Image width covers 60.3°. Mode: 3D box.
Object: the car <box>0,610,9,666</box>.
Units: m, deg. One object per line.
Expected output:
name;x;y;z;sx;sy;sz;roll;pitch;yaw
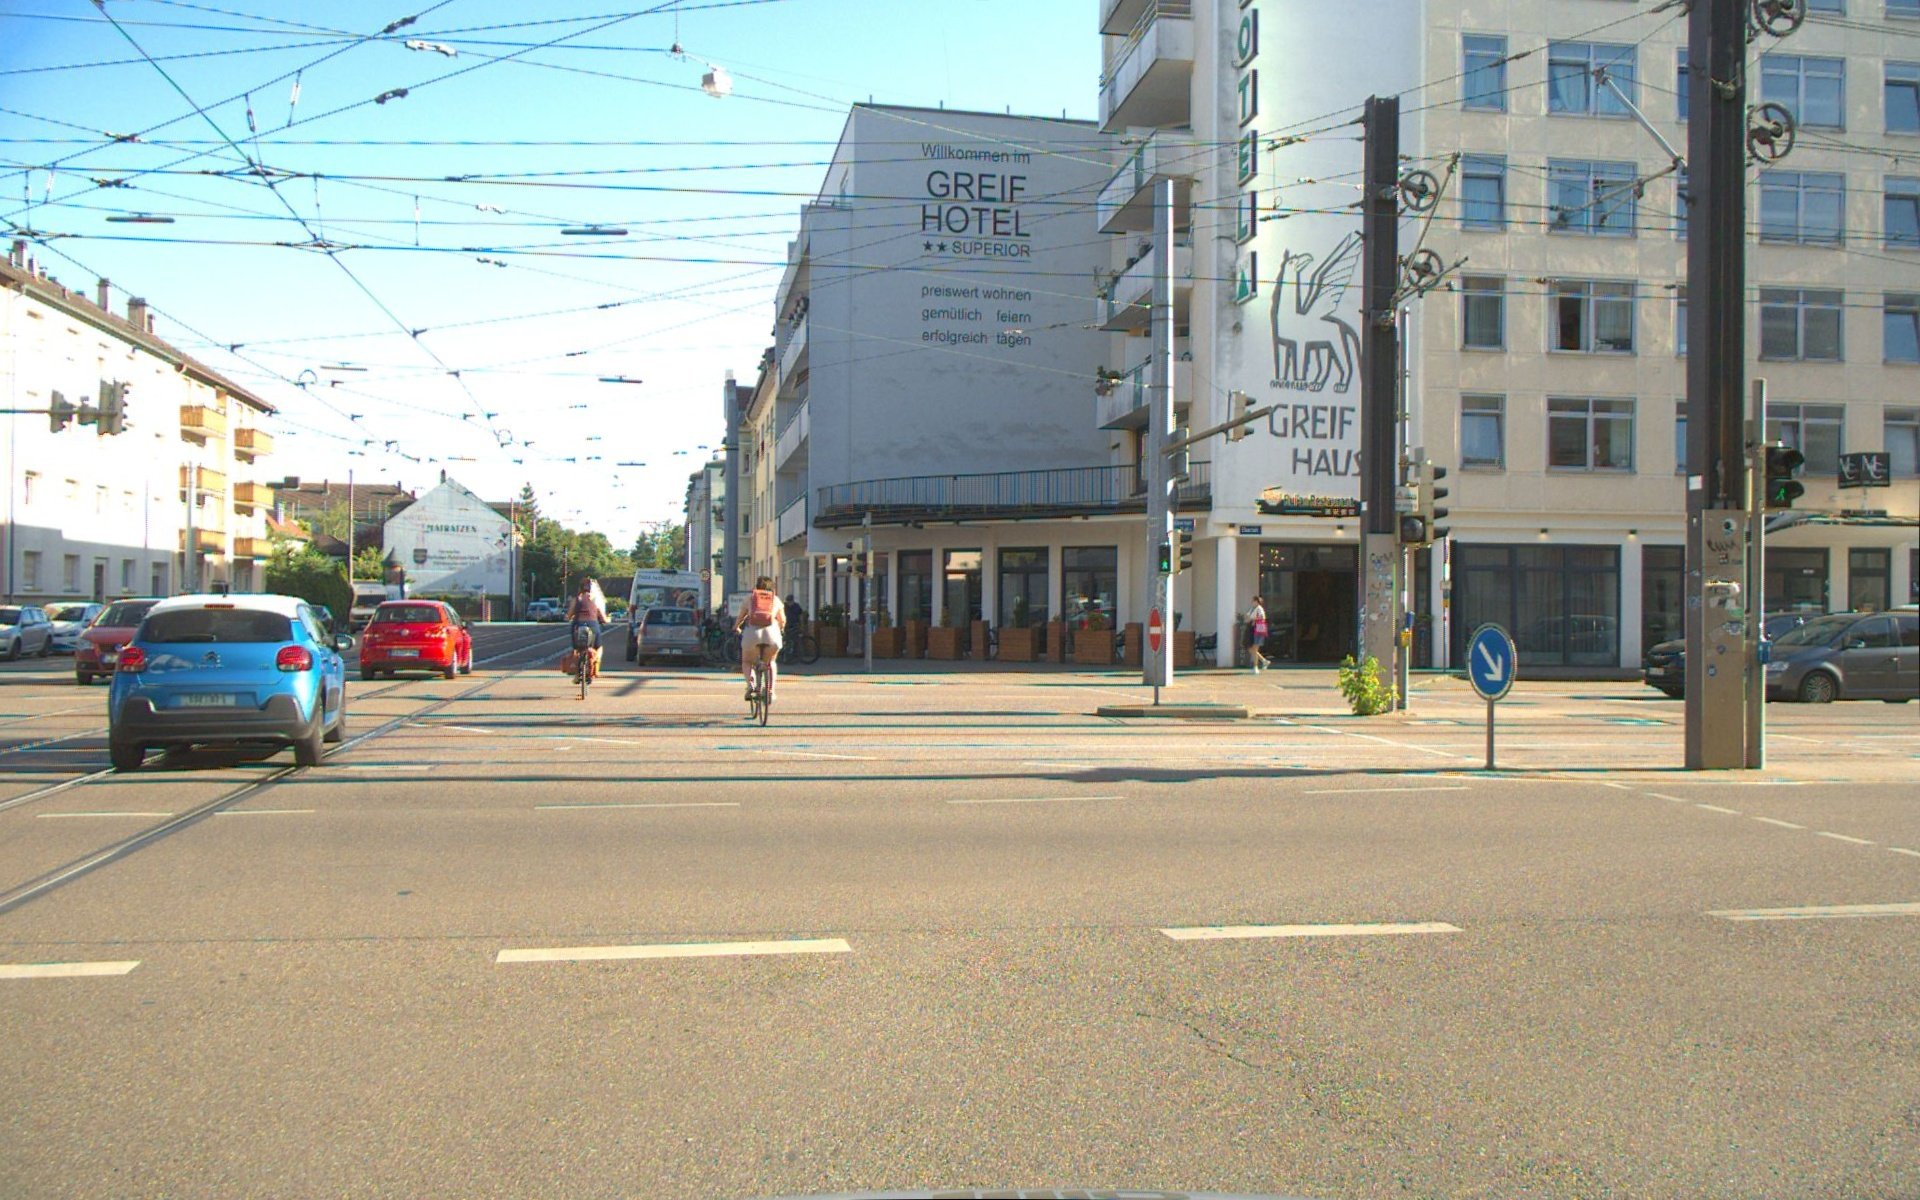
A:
car;-25.623;0.870;41.047;2.116;1.457;4.427;2;-3;-12

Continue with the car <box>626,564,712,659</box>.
car;-8.332;0.343;47.065;2.225;2.525;4.993;2;-1;-12

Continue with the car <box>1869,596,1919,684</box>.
car;24.075;0.925;38.251;5.210;1.901;1.945;1;2;-9

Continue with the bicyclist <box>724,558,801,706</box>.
bicyclist;-2.391;0.390;20.141;0.795;1.721;0.934;2;-1;-3

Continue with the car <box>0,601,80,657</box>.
car;-26.473;0.775;46.346;1.868;1.462;4.094;2;-1;-9

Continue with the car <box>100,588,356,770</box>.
car;-6.675;0.675;15.432;1.709;1.478;3.645;2;-1;-17

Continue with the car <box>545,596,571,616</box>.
car;-38.490;0.612;158.579;2.036;1.793;5.024;2;-1;-10

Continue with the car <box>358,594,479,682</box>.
car;-10.490;0.700;32.248;1.753;1.548;3.751;3;0;-12

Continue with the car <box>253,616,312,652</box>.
car;-32.378;1.625;79.108;1.837;1.604;3.987;3;-1;-12

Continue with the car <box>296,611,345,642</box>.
car;-34.799;1.435;90.097;1.837;1.604;3.987;3;-1;-12

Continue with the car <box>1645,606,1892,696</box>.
car;15.385;0.974;31.564;3.959;1.603;1.791;1;-1;-10

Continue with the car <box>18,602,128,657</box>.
car;-27.345;0.902;51.123;1.710;1.553;4.219;2;-1;-10

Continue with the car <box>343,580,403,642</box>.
car;-31.904;0.604;90.039;2.374;3.197;3.480;2;-1;-10

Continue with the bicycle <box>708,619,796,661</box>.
bicycle;-5.400;1.028;42.859;2.212;1.019;0.854;-1;-1;-12

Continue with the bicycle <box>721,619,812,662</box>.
bicycle;-4.891;1.011;41.824;2.212;1.019;0.854;-1;-1;-12

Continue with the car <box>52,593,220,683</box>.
car;-14.716;0.657;29.748;1.747;1.512;3.817;0;-1;-12

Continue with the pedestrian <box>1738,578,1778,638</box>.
pedestrian;19.132;0.184;39.665;0.521;1.400;0.678;3;-2;-30

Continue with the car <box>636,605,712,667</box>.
car;-7.331;0.902;42.177;1.629;1.456;3.875;3;-1;-13

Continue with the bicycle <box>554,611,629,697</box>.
bicycle;-5.685;0.820;25.637;0.923;1.245;2.090;2;-1;-8

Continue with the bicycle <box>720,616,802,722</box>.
bicycle;-2.410;0.827;20.277;0.794;1.202;2.063;2;-1;-2

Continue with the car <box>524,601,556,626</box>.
car;-35.833;1.141;141.118;2.178;1.965;4.937;2;-1;-10

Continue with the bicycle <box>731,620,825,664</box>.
bicycle;-4.458;1.013;40.503;2.212;1.019;0.854;-1;-1;-12

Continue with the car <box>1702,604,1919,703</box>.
car;15.264;0.918;28.283;4.353;1.575;1.933;1;-1;-7

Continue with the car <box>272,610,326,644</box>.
car;-33.533;1.371;84.026;1.837;1.604;3.987;3;-1;-12

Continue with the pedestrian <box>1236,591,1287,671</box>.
pedestrian;6.855;0.710;37.643;0.890;1.777;0.735;2;-1;-11

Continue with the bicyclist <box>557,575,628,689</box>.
bicyclist;-5.679;0.494;25.594;0.923;1.702;1.077;2;-1;-8

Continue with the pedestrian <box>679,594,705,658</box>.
pedestrian;-7.204;0.705;44.381;0.602;1.683;0.669;2;-1;-11
